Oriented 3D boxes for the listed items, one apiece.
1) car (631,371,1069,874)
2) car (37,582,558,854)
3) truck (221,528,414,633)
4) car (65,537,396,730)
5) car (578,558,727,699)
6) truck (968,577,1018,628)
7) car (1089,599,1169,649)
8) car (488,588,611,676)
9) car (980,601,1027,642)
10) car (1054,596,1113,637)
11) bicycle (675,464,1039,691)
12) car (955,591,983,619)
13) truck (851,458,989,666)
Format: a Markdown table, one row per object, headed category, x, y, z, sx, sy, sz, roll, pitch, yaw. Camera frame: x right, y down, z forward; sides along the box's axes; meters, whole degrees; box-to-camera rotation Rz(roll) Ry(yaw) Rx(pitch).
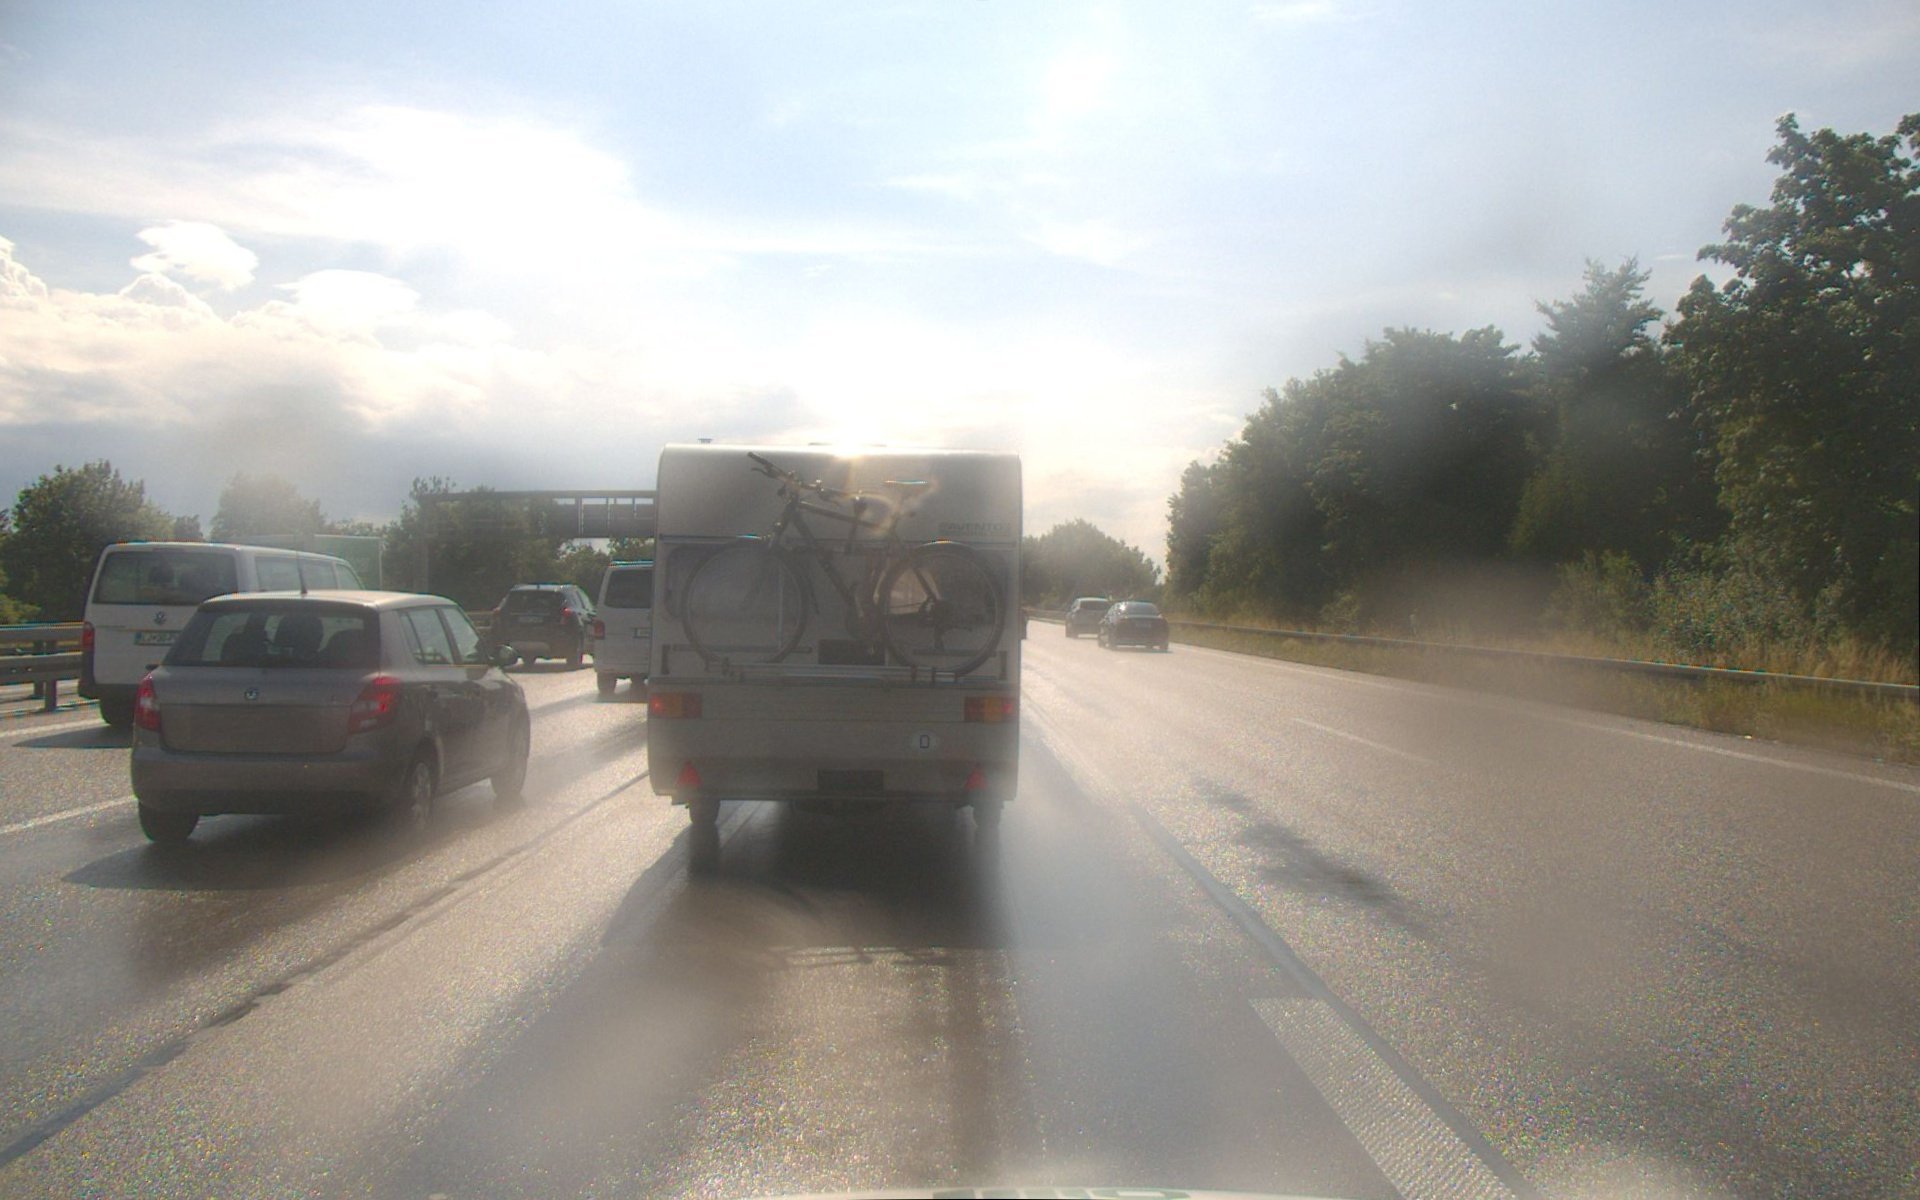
| category | x | y | z | sx | sy | sz | roll | pitch | yaw |
| --- | --- | --- | --- | --- | --- | --- | --- | --- | --- |
| car | -0.618 | 0.134 | 11.084 | 2.361 | 2.721 | 3.999 | 1 | 0 | -1 |
| car | -4.127 | 0.649 | 11.061 | 1.947 | 1.483 | 3.826 | 1 | 0 | -1 |
| truck | -20.211 | -0.553 | 52.698 | 2.857 | 3.039 | 8.719 | 1 | 0 | -1 |
| car | -8.373 | 0.342 | 19.567 | 1.810 | 1.967 | 5.014 | 1 | 0 | -2 |
| car | -4.822 | 0.431 | 26.435 | 1.839 | 2.049 | 3.997 | 1 | 0 | -4 |
| truck | 1.648 | 0.130 | 84.949 | 2.366 | 2.486 | 6.052 | 1 | 0 | -1 |
| car | 5.408 | 0.758 | 53.439 | 1.840 | 1.521 | 3.996 | 1 | 0 | -5 |
| car | -8.402 | 0.630 | 34.137 | 1.737 | 1.691 | 3.997 | 1 | 0 | -4 |
| car | 1.751 | 0.866 | 67.752 | 1.798 | 1.585 | 3.999 | 1 | 0 | -1 |
| car | 5.180 | 0.697 | 69.731 | 1.840 | 1.657 | 3.996 | 1 | 0 | -5 |
| bicycle | -0.543 | -0.115 | 8.892 | 1.894 | 1.161 | 0.384 | 1 | -1 | -1 |
| car | 0.558 | 0.317 | 104.142 | 1.684 | 1.713 | 3.999 | 1 | 0 | -1 |
| truck | -1.108 | -0.860 | 42.941 | 3.083 | 4.707 | 10.730 | 1 | 0 | -2 |
